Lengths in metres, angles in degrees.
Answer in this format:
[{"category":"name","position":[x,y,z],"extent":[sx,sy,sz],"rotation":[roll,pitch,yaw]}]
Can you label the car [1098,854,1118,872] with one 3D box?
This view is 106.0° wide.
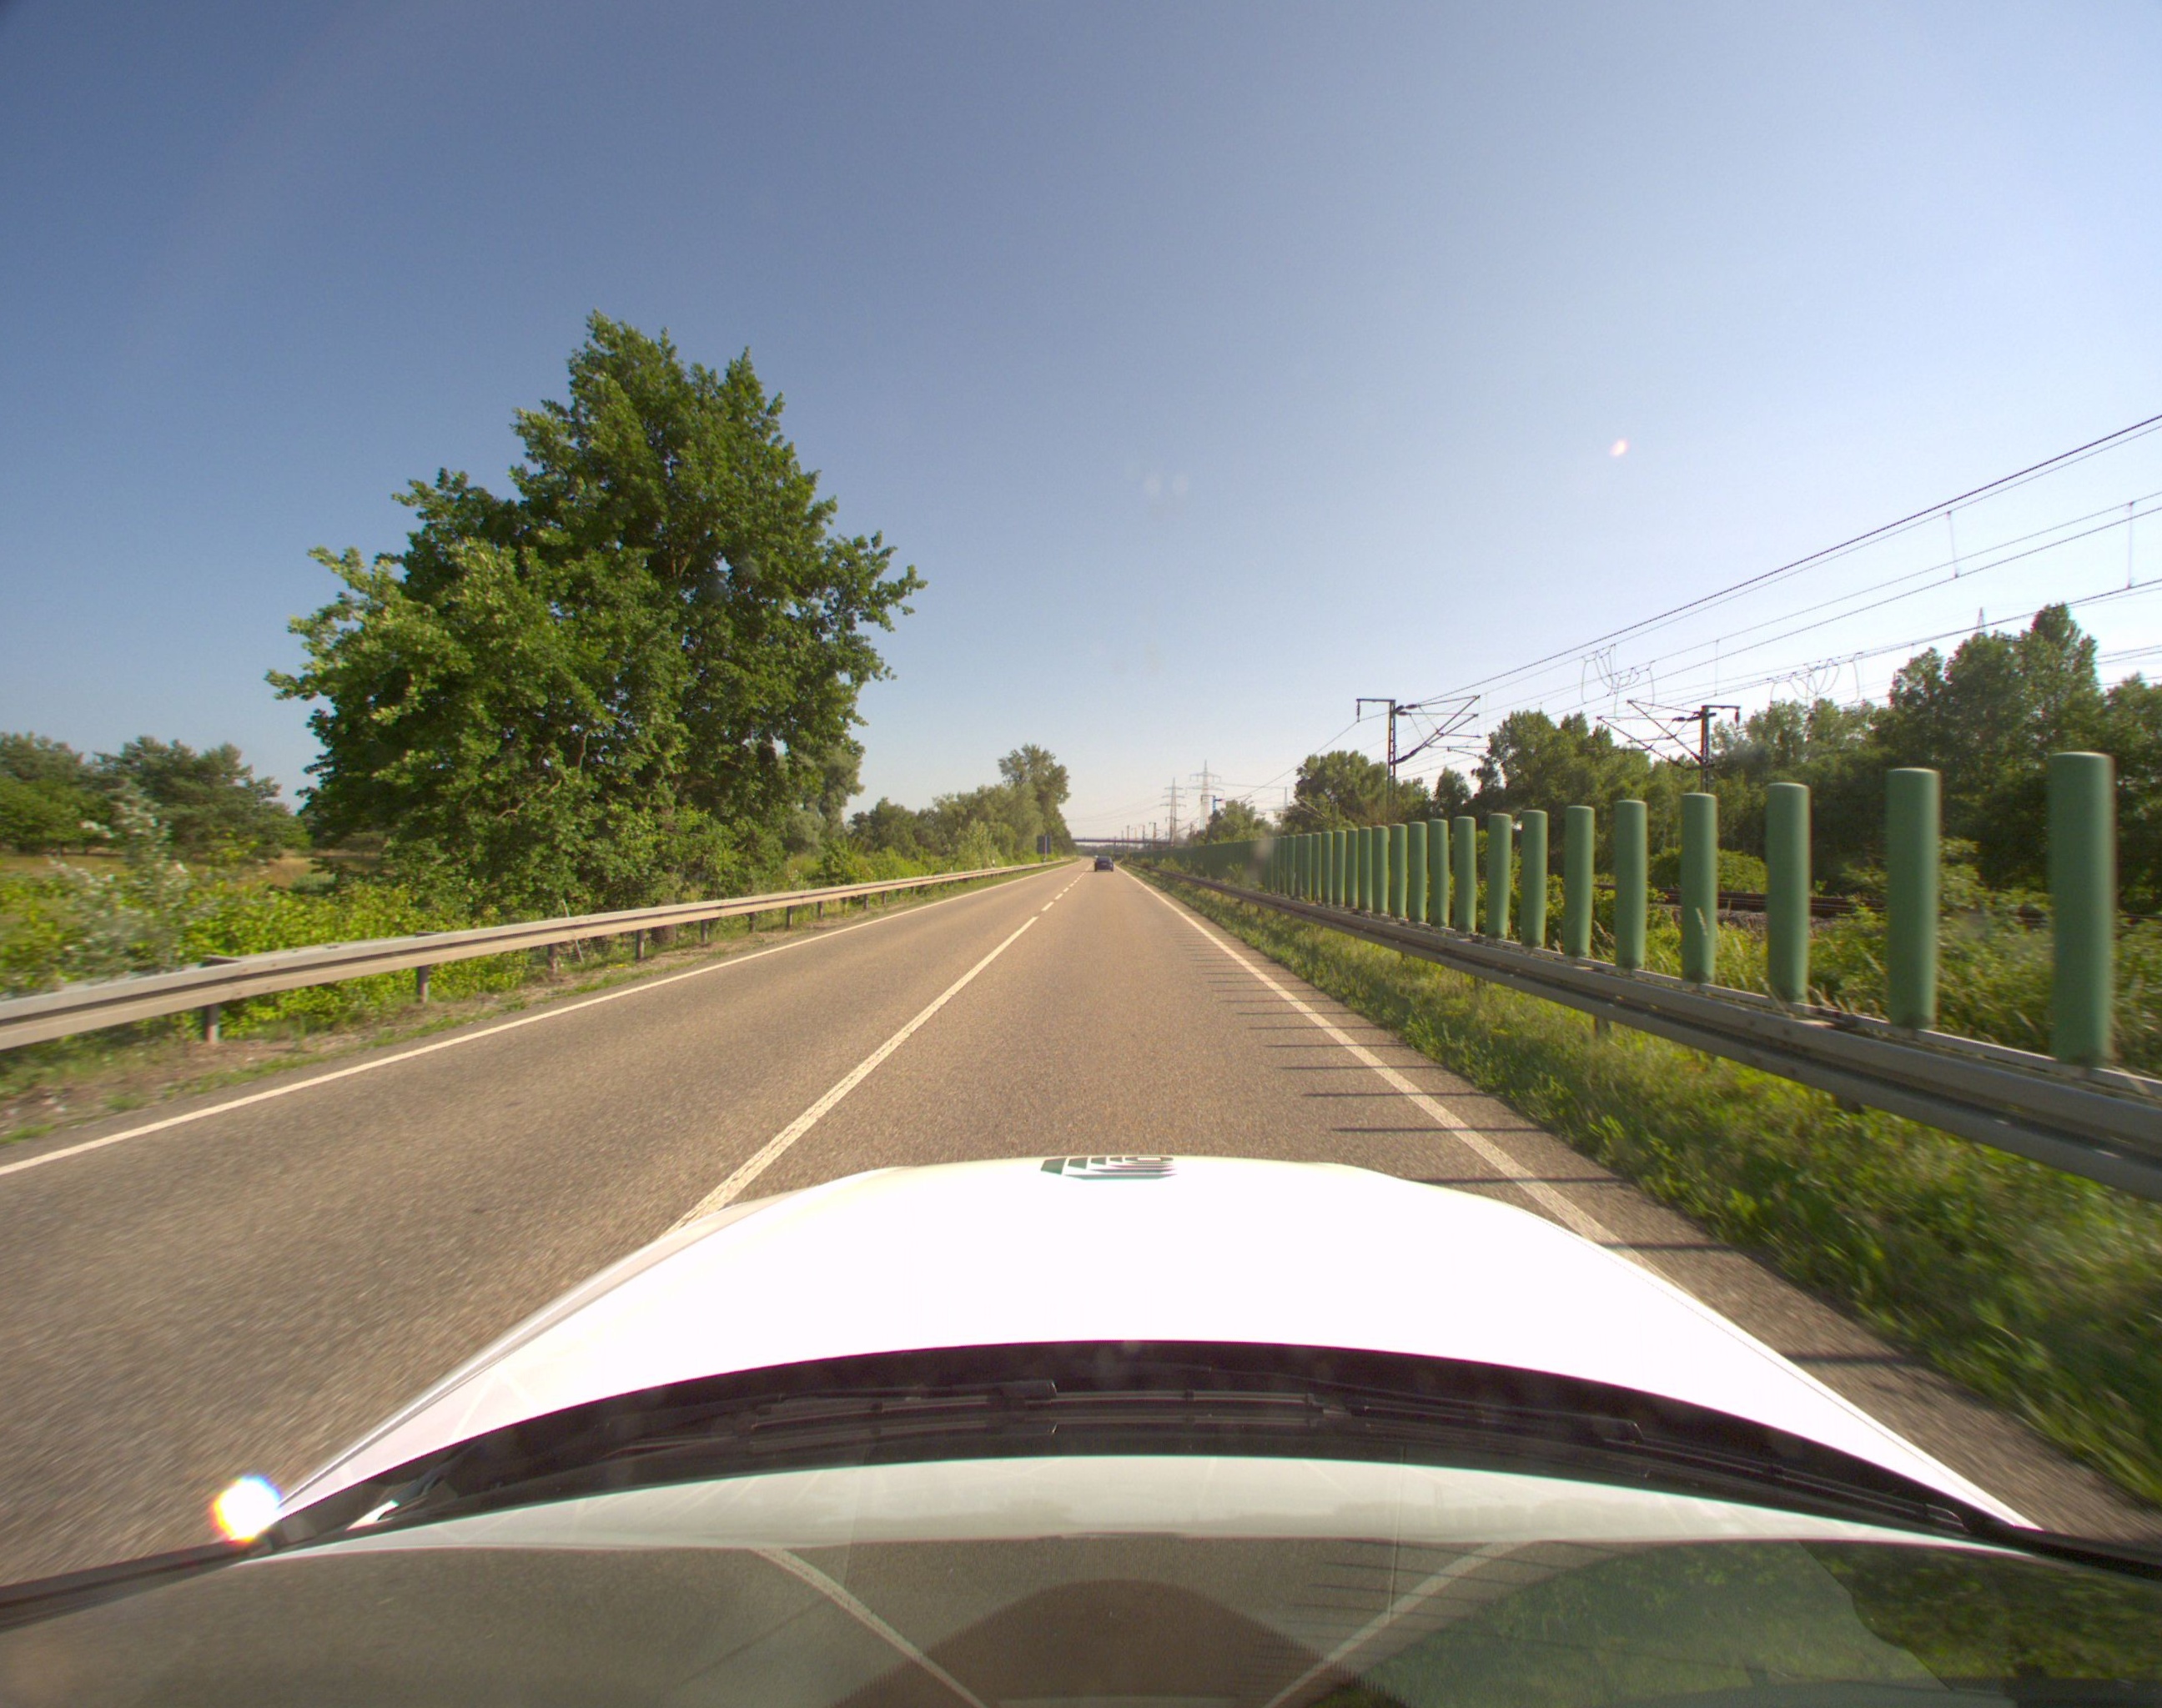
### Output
[{"category":"car","position":[2.600,0.812,78.550],"extent":[1.852,1.642,4.000],"rotation":[-1,0,1]}]
